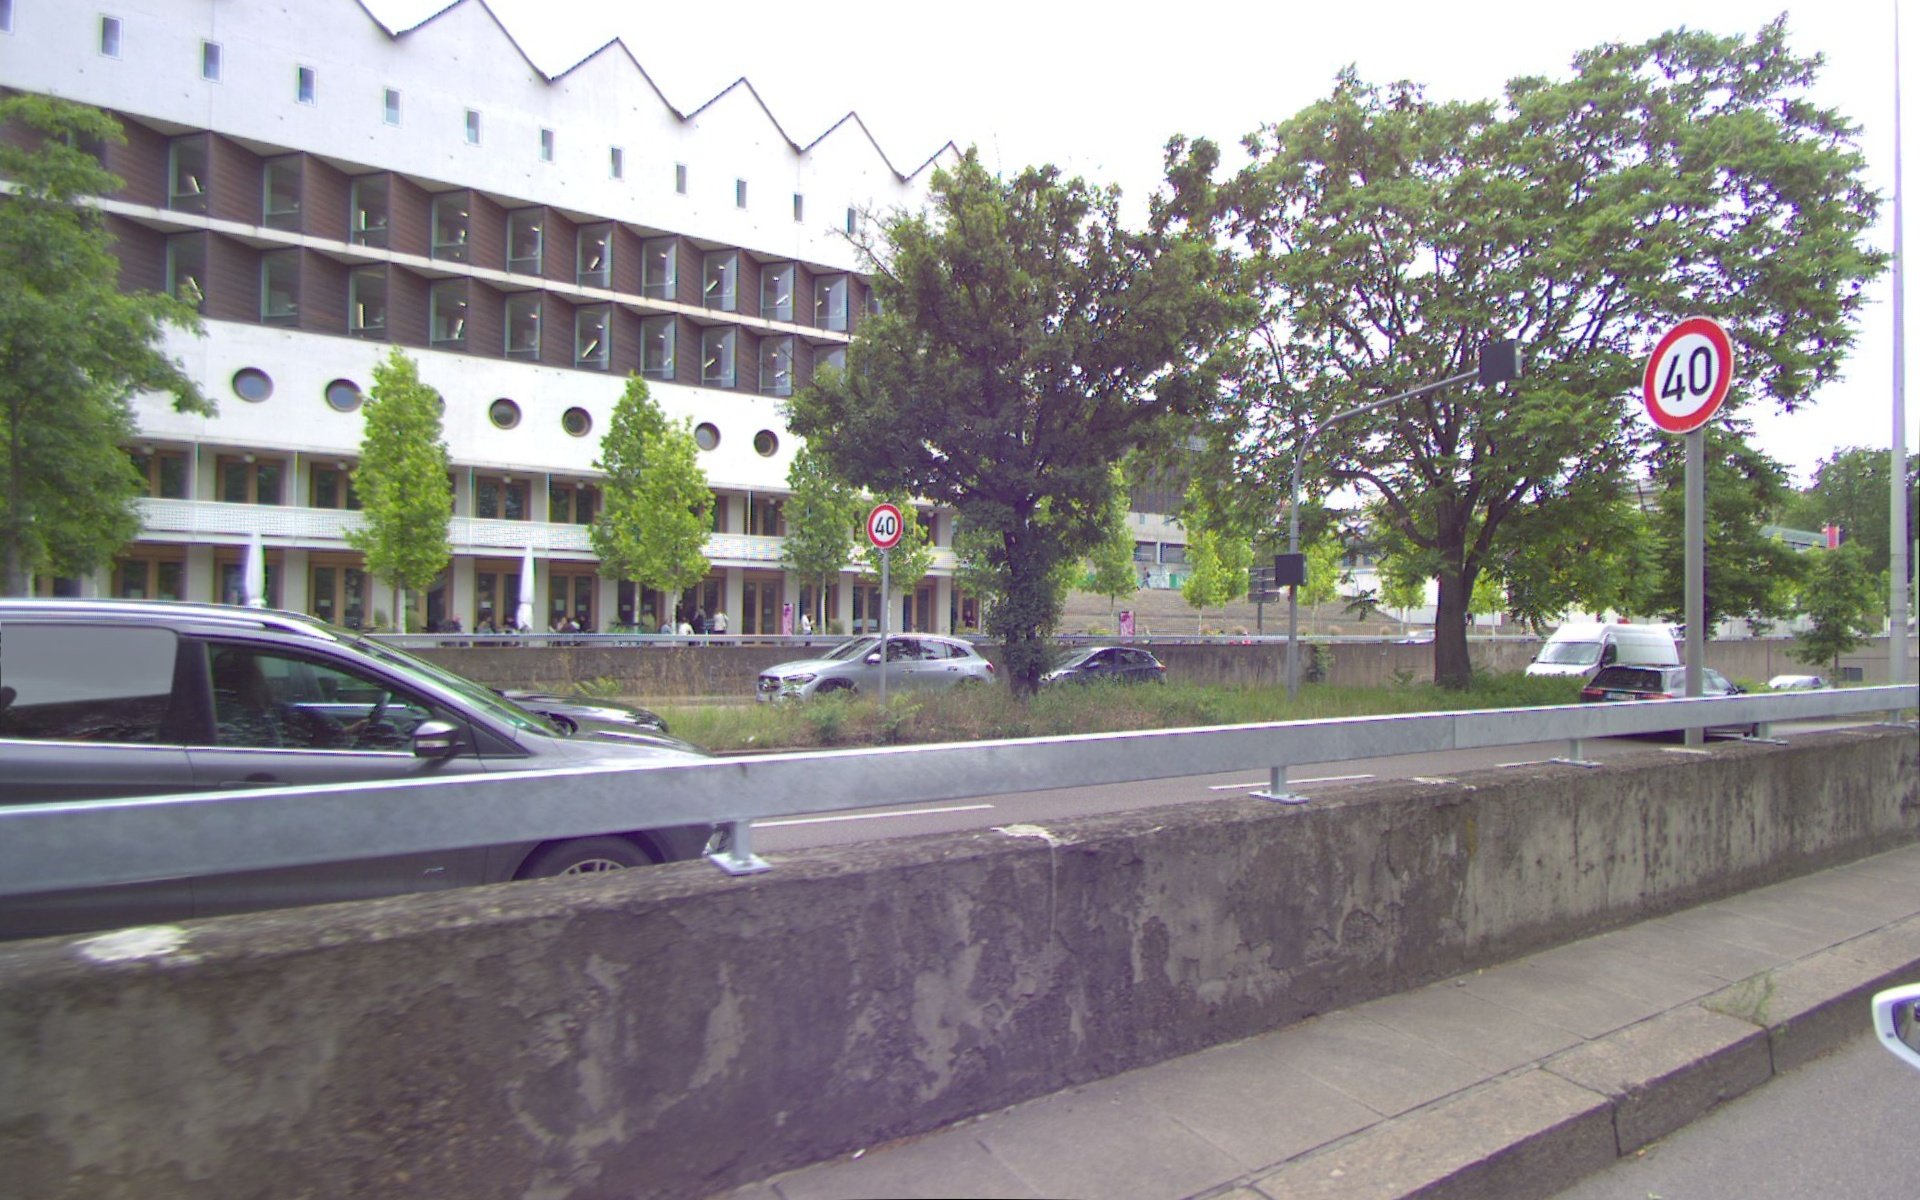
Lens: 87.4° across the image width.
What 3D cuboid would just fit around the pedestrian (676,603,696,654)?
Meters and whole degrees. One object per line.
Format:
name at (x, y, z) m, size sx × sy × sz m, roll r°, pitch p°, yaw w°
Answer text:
pedestrian at (-11.349, 1.173, 41.587) m, size 0.623 × 2.037 × 0.630 m, roll 2°, pitch -10°, yaw -30°

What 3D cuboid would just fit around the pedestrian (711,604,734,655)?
pedestrian at (-9.924, 1.258, 41.996) m, size 0.730 × 2.037 × 0.708 m, roll 2°, pitch -10°, yaw -31°

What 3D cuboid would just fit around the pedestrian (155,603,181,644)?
pedestrian at (-26.528, 0.801, 33.651) m, size 0.559 × 1.344 × 0.516 m, roll 3°, pitch -3°, yaw -30°

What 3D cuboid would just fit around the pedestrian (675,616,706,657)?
pedestrian at (-10.581, 1.440, 39.461) m, size 0.624 × 1.542 × 0.910 m, roll -7°, pitch -6°, yaw 30°

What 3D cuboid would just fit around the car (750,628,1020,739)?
car at (-1.272, 1.383, 17.669) m, size 4.393 × 1.740 × 1.849 m, roll 1°, pitch -2°, yaw -30°

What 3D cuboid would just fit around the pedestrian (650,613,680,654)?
pedestrian at (-11.625, 1.324, 39.573) m, size 0.625 × 1.542 × 0.908 m, roll -8°, pitch -7°, yaw 37°

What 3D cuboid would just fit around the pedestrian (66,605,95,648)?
pedestrian at (-28.475, 0.861, 32.518) m, size 0.559 × 1.344 × 0.516 m, roll 3°, pitch -3°, yaw -30°

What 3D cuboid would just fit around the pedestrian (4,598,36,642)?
pedestrian at (-29.770, 0.637, 31.811) m, size 0.559 × 1.344 × 0.516 m, roll 3°, pitch -3°, yaw -30°

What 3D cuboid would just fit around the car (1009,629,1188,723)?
car at (3.436, 1.820, 24.743) m, size 3.955 × 2.040 × 1.983 m, roll 2°, pitch 1°, yaw -31°

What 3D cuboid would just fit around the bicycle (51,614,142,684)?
bicycle at (-22.459, 1.239, 26.223) m, size 1.169 × 1.706 × 3.595 m, roll 1°, pitch -2°, yaw -31°

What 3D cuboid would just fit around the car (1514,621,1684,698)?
car at (20.265, 1.864, 31.745) m, size 6.141 × 2.194 × 1.965 m, roll 2°, pitch 0°, yaw -31°

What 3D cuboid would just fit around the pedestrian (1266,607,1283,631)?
pedestrian at (22.943, 1.393, 73.334) m, size 0.849 × 1.662 × 0.638 m, roll 2°, pitch 4°, yaw -31°

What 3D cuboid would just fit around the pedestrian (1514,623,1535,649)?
pedestrian at (35.986, 2.305, 64.034) m, size 0.993 × 1.662 × 0.731 m, roll 1°, pitch -1°, yaw -31°

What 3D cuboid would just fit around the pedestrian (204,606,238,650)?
pedestrian at (-24.066, 0.914, 32.721) m, size 0.622 × 1.344 × 0.651 m, roll -2°, pitch -5°, yaw -3°

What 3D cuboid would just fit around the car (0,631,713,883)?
car at (-4.611, 1.032, 8.043) m, size 4.753 × 1.502 × 1.984 m, roll 1°, pitch -1°, yaw -31°

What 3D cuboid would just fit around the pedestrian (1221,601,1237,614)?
pedestrian at (19.510, 0.545, 72.891) m, size 0.849 × 0.895 × 0.638 m, roll 2°, pitch 4°, yaw -31°

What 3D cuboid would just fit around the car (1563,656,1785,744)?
car at (14.514, 1.960, 20.349) m, size 4.805 × 1.479 × 1.804 m, roll 2°, pitch 0°, yaw -30°

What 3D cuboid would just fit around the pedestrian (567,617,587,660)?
pedestrian at (-15.109, 1.526, 39.623) m, size 0.623 × 1.655 × 0.629 m, roll 2°, pitch -1°, yaw -30°

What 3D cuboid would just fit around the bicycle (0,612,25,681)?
bicycle at (-24.333, 1.134, 24.719) m, size 1.169 × 1.706 × 3.595 m, roll 1°, pitch -2°, yaw -31°

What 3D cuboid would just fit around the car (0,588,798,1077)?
car at (-3.283, 0.837, 4.755) m, size 4.604 × 1.738 × 1.884 m, roll 1°, pitch 0°, yaw -31°

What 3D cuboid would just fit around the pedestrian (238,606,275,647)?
pedestrian at (-23.435, 0.873, 33.477) m, size 0.657 × 1.345 × 0.790 m, roll 1°, pitch 0°, yaw -3°

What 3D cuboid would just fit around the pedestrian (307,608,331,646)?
pedestrian at (-22.706, 0.956, 35.578) m, size 0.643 × 1.345 × 0.630 m, roll 1°, pitch 0°, yaw -28°

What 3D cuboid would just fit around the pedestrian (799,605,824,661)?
pedestrian at (-5.511, 1.221, 37.262) m, size 0.623 × 2.040 × 0.629 m, roll 2°, pitch 1°, yaw -30°
